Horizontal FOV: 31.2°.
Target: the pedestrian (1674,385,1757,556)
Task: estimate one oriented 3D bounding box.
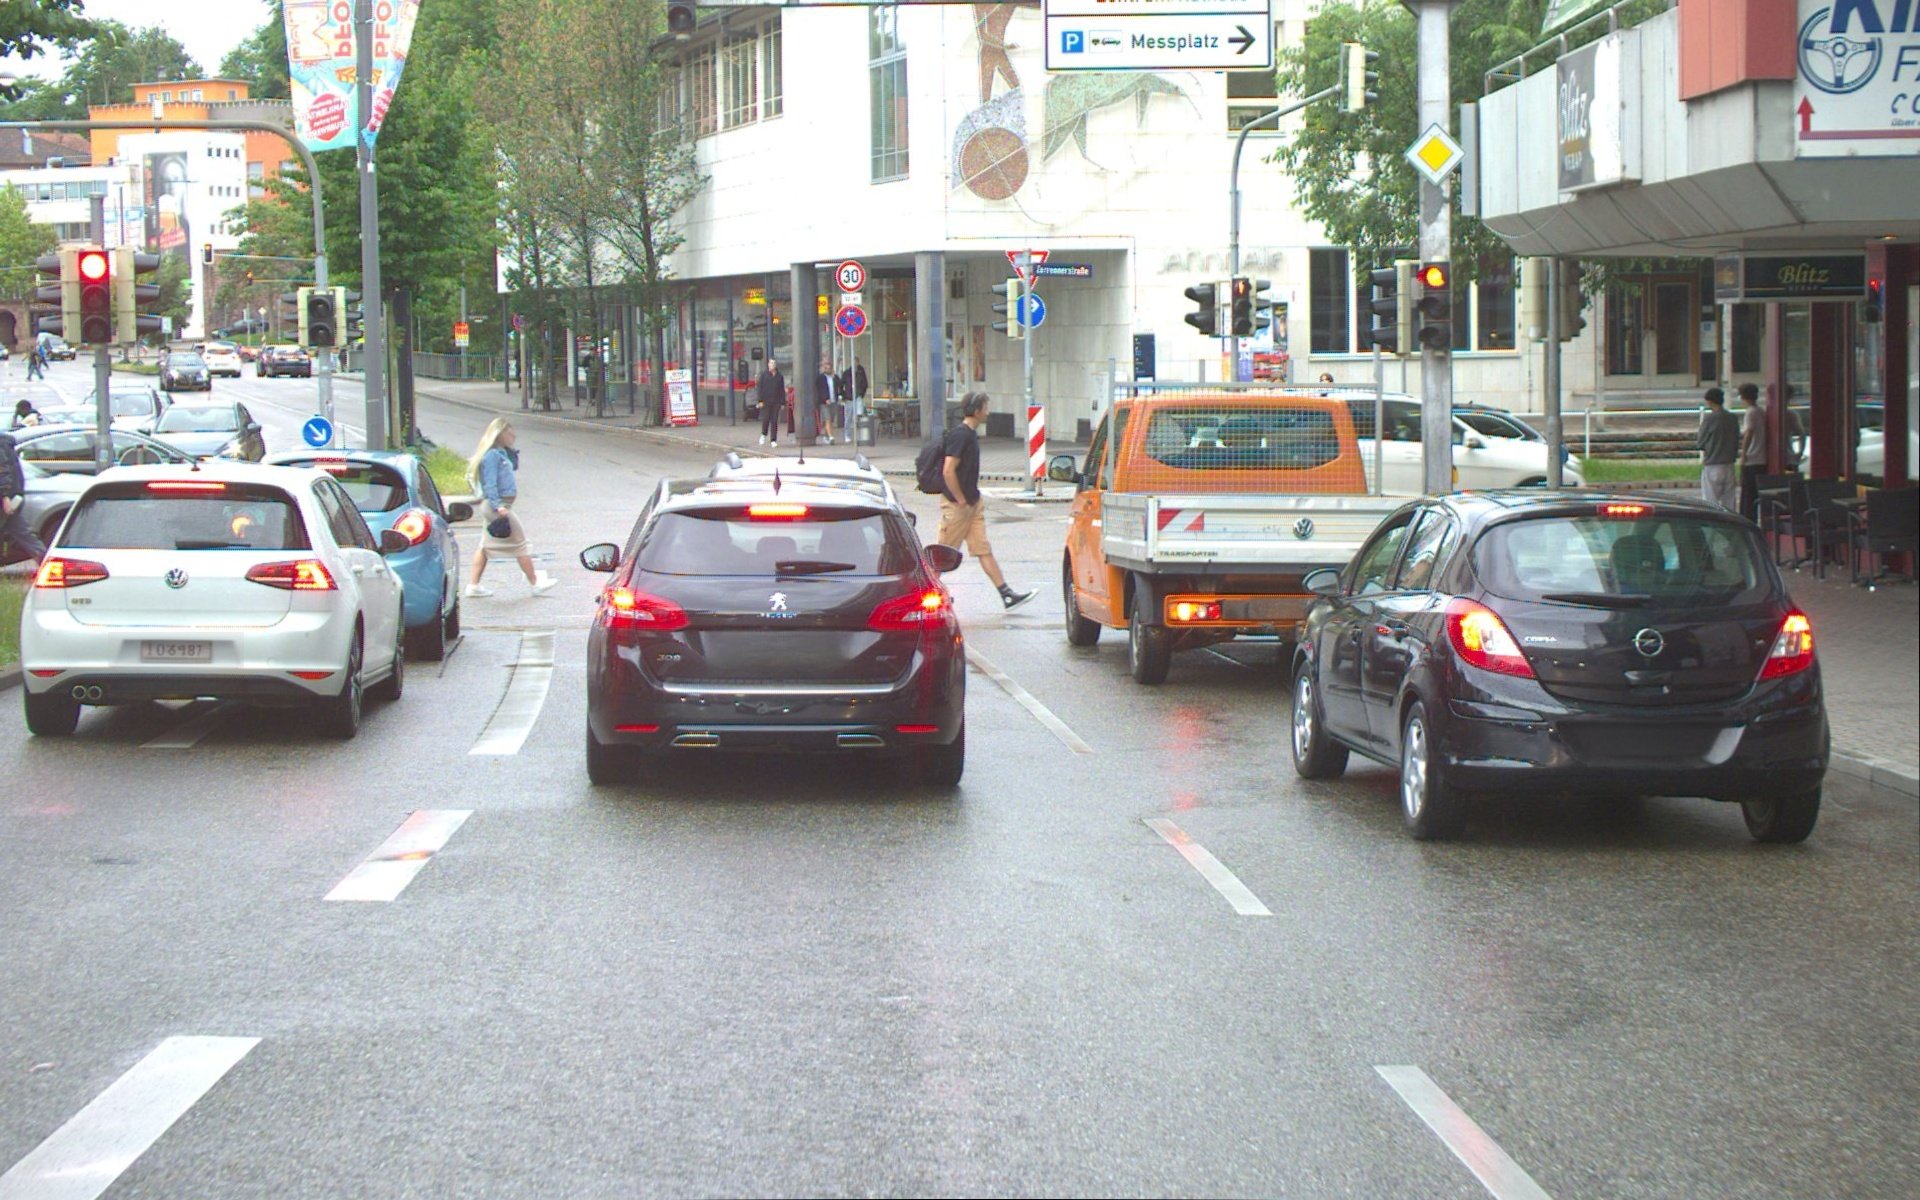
[{"bbox_3d":[7.610,-1.305,34.639,0.575,1.694,0.651,-2,2,-11],"label":"pedestrian"}]

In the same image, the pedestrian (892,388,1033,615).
[{"bbox_3d":[0.030,-0.840,29.214,1.063,1.875,0.838,-1,2,6],"label":"pedestrian"}]

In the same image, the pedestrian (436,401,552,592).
[{"bbox_3d":[-4.286,-0.958,31.691,0.835,1.716,0.818,-1,2,6],"label":"pedestrian"}]

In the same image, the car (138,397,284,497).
[{"bbox_3d":[-12.093,-2.468,55.716,1.820,1.543,4.001,-1,2,-5],"label":"car"}]

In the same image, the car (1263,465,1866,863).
[{"bbox_3d":[2.572,0.177,15.626,1.950,1.568,4.001,0,2,-1],"label":"car"}]

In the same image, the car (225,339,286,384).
[{"bbox_3d":[-33.055,-11.171,161.230,1.993,2.006,4.001,-1,2,-24],"label":"car"}]

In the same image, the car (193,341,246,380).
[{"bbox_3d":[-33.033,-10.661,153.220,1.993,1.590,4.002,-1,2,-16],"label":"car"}]

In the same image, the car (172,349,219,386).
[{"bbox_3d":[-29.445,-8.942,132.305,1.682,1.265,3.741,-2,2,-13],"label":"car"}]

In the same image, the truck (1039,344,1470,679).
[{"bbox_3d":[1.912,-0.661,24.308,2.183,2.075,5.604,-1,2,-4],"label":"truck"}]

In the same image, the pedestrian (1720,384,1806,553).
[{"bbox_3d":[8.174,-1.340,35.022,0.575,1.694,0.651,-2,2,-15],"label":"pedestrian"}]

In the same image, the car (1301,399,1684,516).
[{"bbox_3d":[6.772,-1.817,43.870,4.396,1.431,2.001,-1,2,-15],"label":"car"}]

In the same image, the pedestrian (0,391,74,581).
[{"bbox_3d":[-8.873,-1.050,31.849,1.010,1.716,0.838,-2,2,4],"label":"pedestrian"}]

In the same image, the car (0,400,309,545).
[{"bbox_3d":[-10.242,-1.511,40.842,4.681,1.638,1.787,0,2,-21],"label":"car"}]

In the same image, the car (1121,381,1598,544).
[{"bbox_3d":[4.588,-1.566,39.762,5.070,1.753,2.001,0,2,-13],"label":"car"}]

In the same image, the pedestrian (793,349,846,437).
[{"bbox_3d":[-2.987,-4.390,72.955,0.846,1.796,1.056,-2,2,-15],"label":"pedestrian"}]

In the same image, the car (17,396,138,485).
[{"bbox_3d":[-15.957,-2.877,62.341,1.777,1.543,4.001,-1,2,-10],"label":"car"}]

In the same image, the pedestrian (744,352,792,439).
[{"bbox_3d":[-4.111,-4.364,73.463,0.798,1.796,0.918,-2,2,-15],"label":"pedestrian"}]

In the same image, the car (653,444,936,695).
[{"bbox_3d":[-1.165,-0.284,23.555,1.760,1.537,4.001,0,3,-4],"label":"car"}]

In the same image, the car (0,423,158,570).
[{"bbox_3d":[-10.689,-1.088,35.663,4.589,1.477,1.943,0,2,-13],"label":"car"}]

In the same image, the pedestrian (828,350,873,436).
[{"bbox_3d":[-2.339,-4.415,73.528,0.702,1.796,0.939,-2,2,-15],"label":"pedestrian"}]

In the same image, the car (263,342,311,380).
[{"bbox_3d":[-30.235,-10.724,154.420,1.831,1.583,3.875,-1,2,-15],"label":"car"}]

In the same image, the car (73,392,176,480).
[{"bbox_3d":[-16.771,-3.276,69.124,1.705,1.714,4.001,-1,2,-10],"label":"car"}]

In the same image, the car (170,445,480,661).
[{"bbox_3d":[-4.602,-0.402,25.429,1.794,1.463,4.001,0,2,-4],"label":"car"}]

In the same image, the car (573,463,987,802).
[{"bbox_3d":[-0.964,0.069,17.223,1.811,1.436,4.001,1,3,-5],"label":"car"}]

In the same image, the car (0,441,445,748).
[{"bbox_3d":[-4.191,-0.103,19.630,1.950,1.568,4.001,0,2,-1],"label":"car"}]
